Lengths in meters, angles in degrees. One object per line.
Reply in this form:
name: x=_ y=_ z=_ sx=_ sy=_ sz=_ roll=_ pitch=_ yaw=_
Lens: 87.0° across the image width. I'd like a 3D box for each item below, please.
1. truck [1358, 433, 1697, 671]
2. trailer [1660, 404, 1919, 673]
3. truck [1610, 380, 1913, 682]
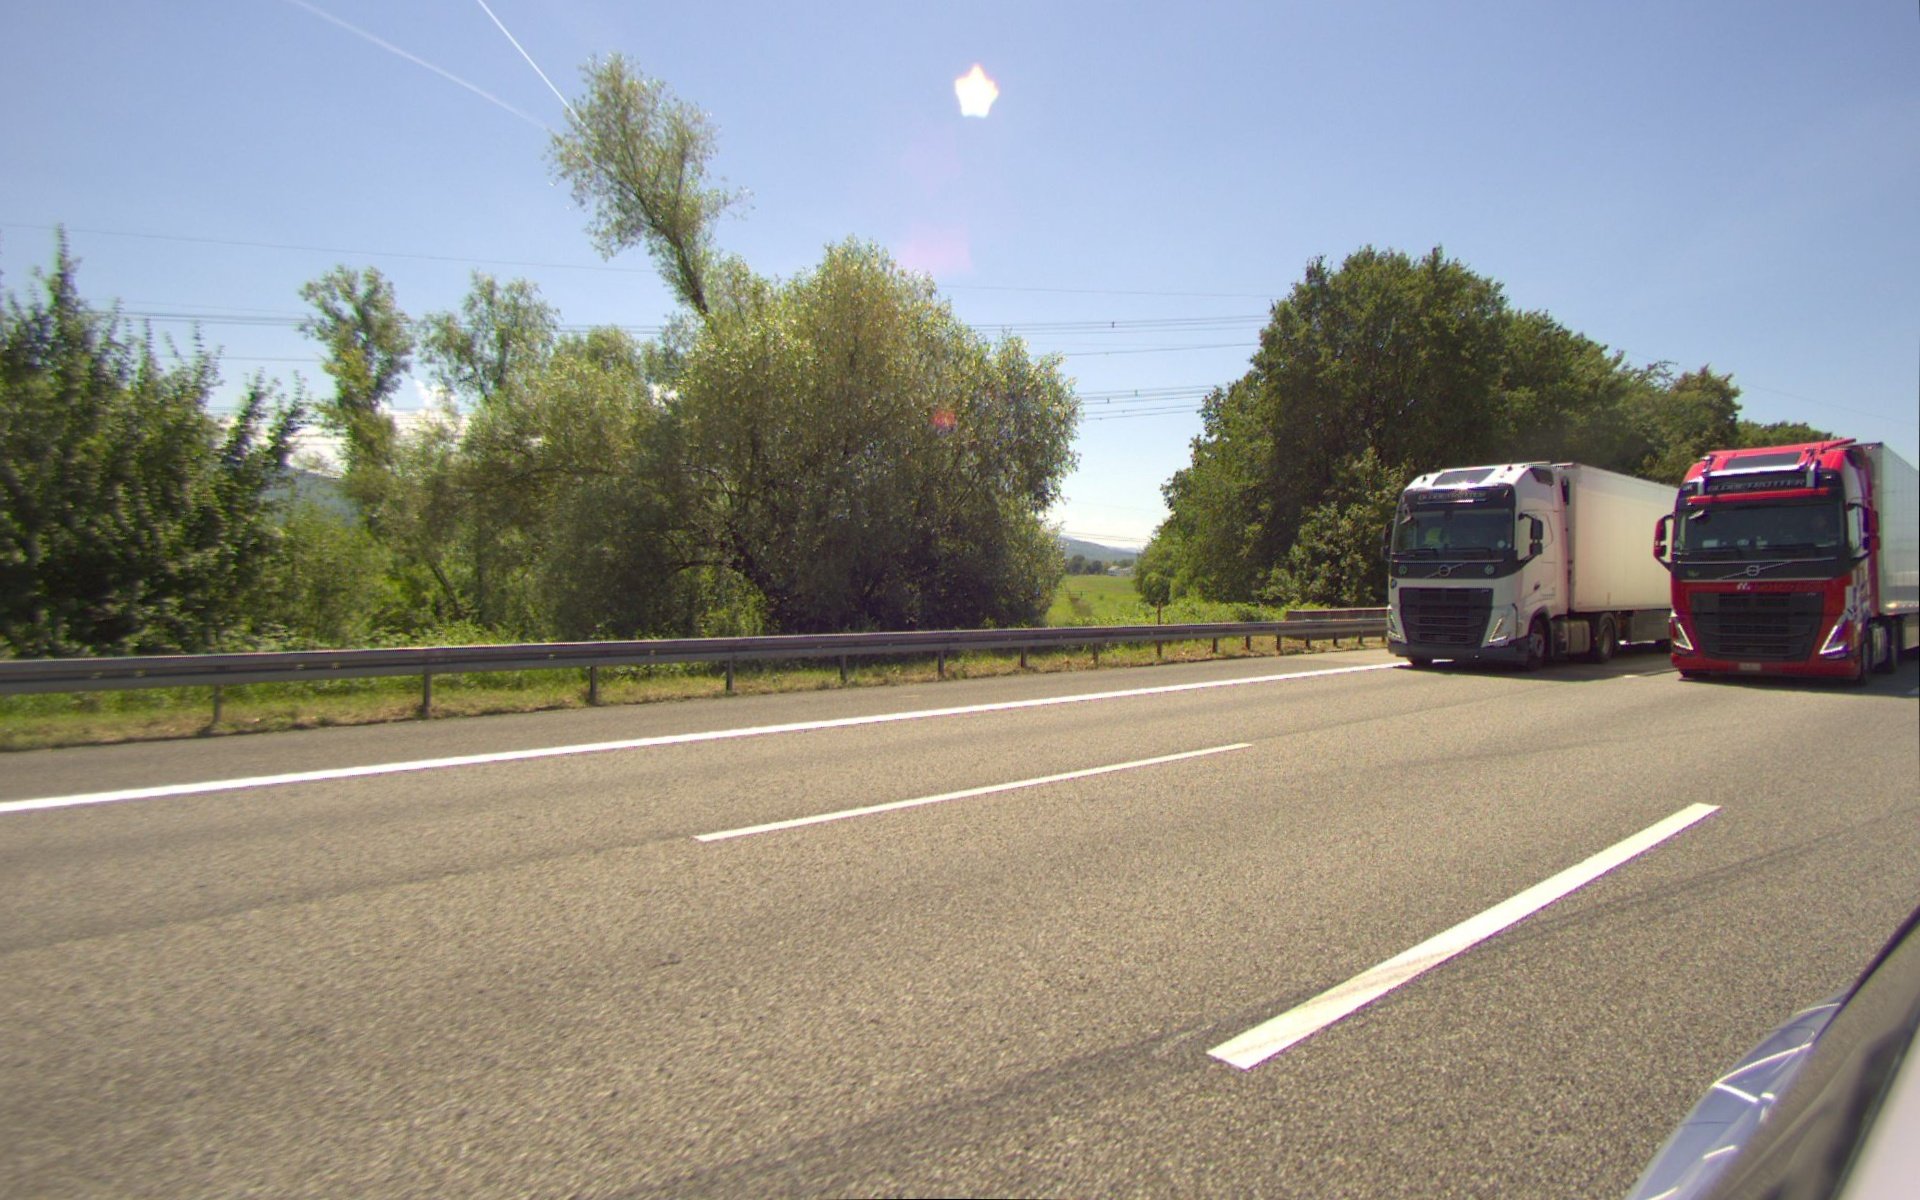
truck: x=12.875 y=-0.899 z=22.260 sx=10.785 sy=4.144 sz=3.031 roll=-1 pitch=1 yaw=-41
trailer: x=19.004 y=-1.014 z=21.746 sx=15.922 sy=4.068 sz=2.942 roll=-1 pitch=1 yaw=-42
truck: x=13.343 y=-0.967 z=16.676 sx=5.996 sy=4.036 sz=2.945 roll=-1 pitch=1 yaw=-42
